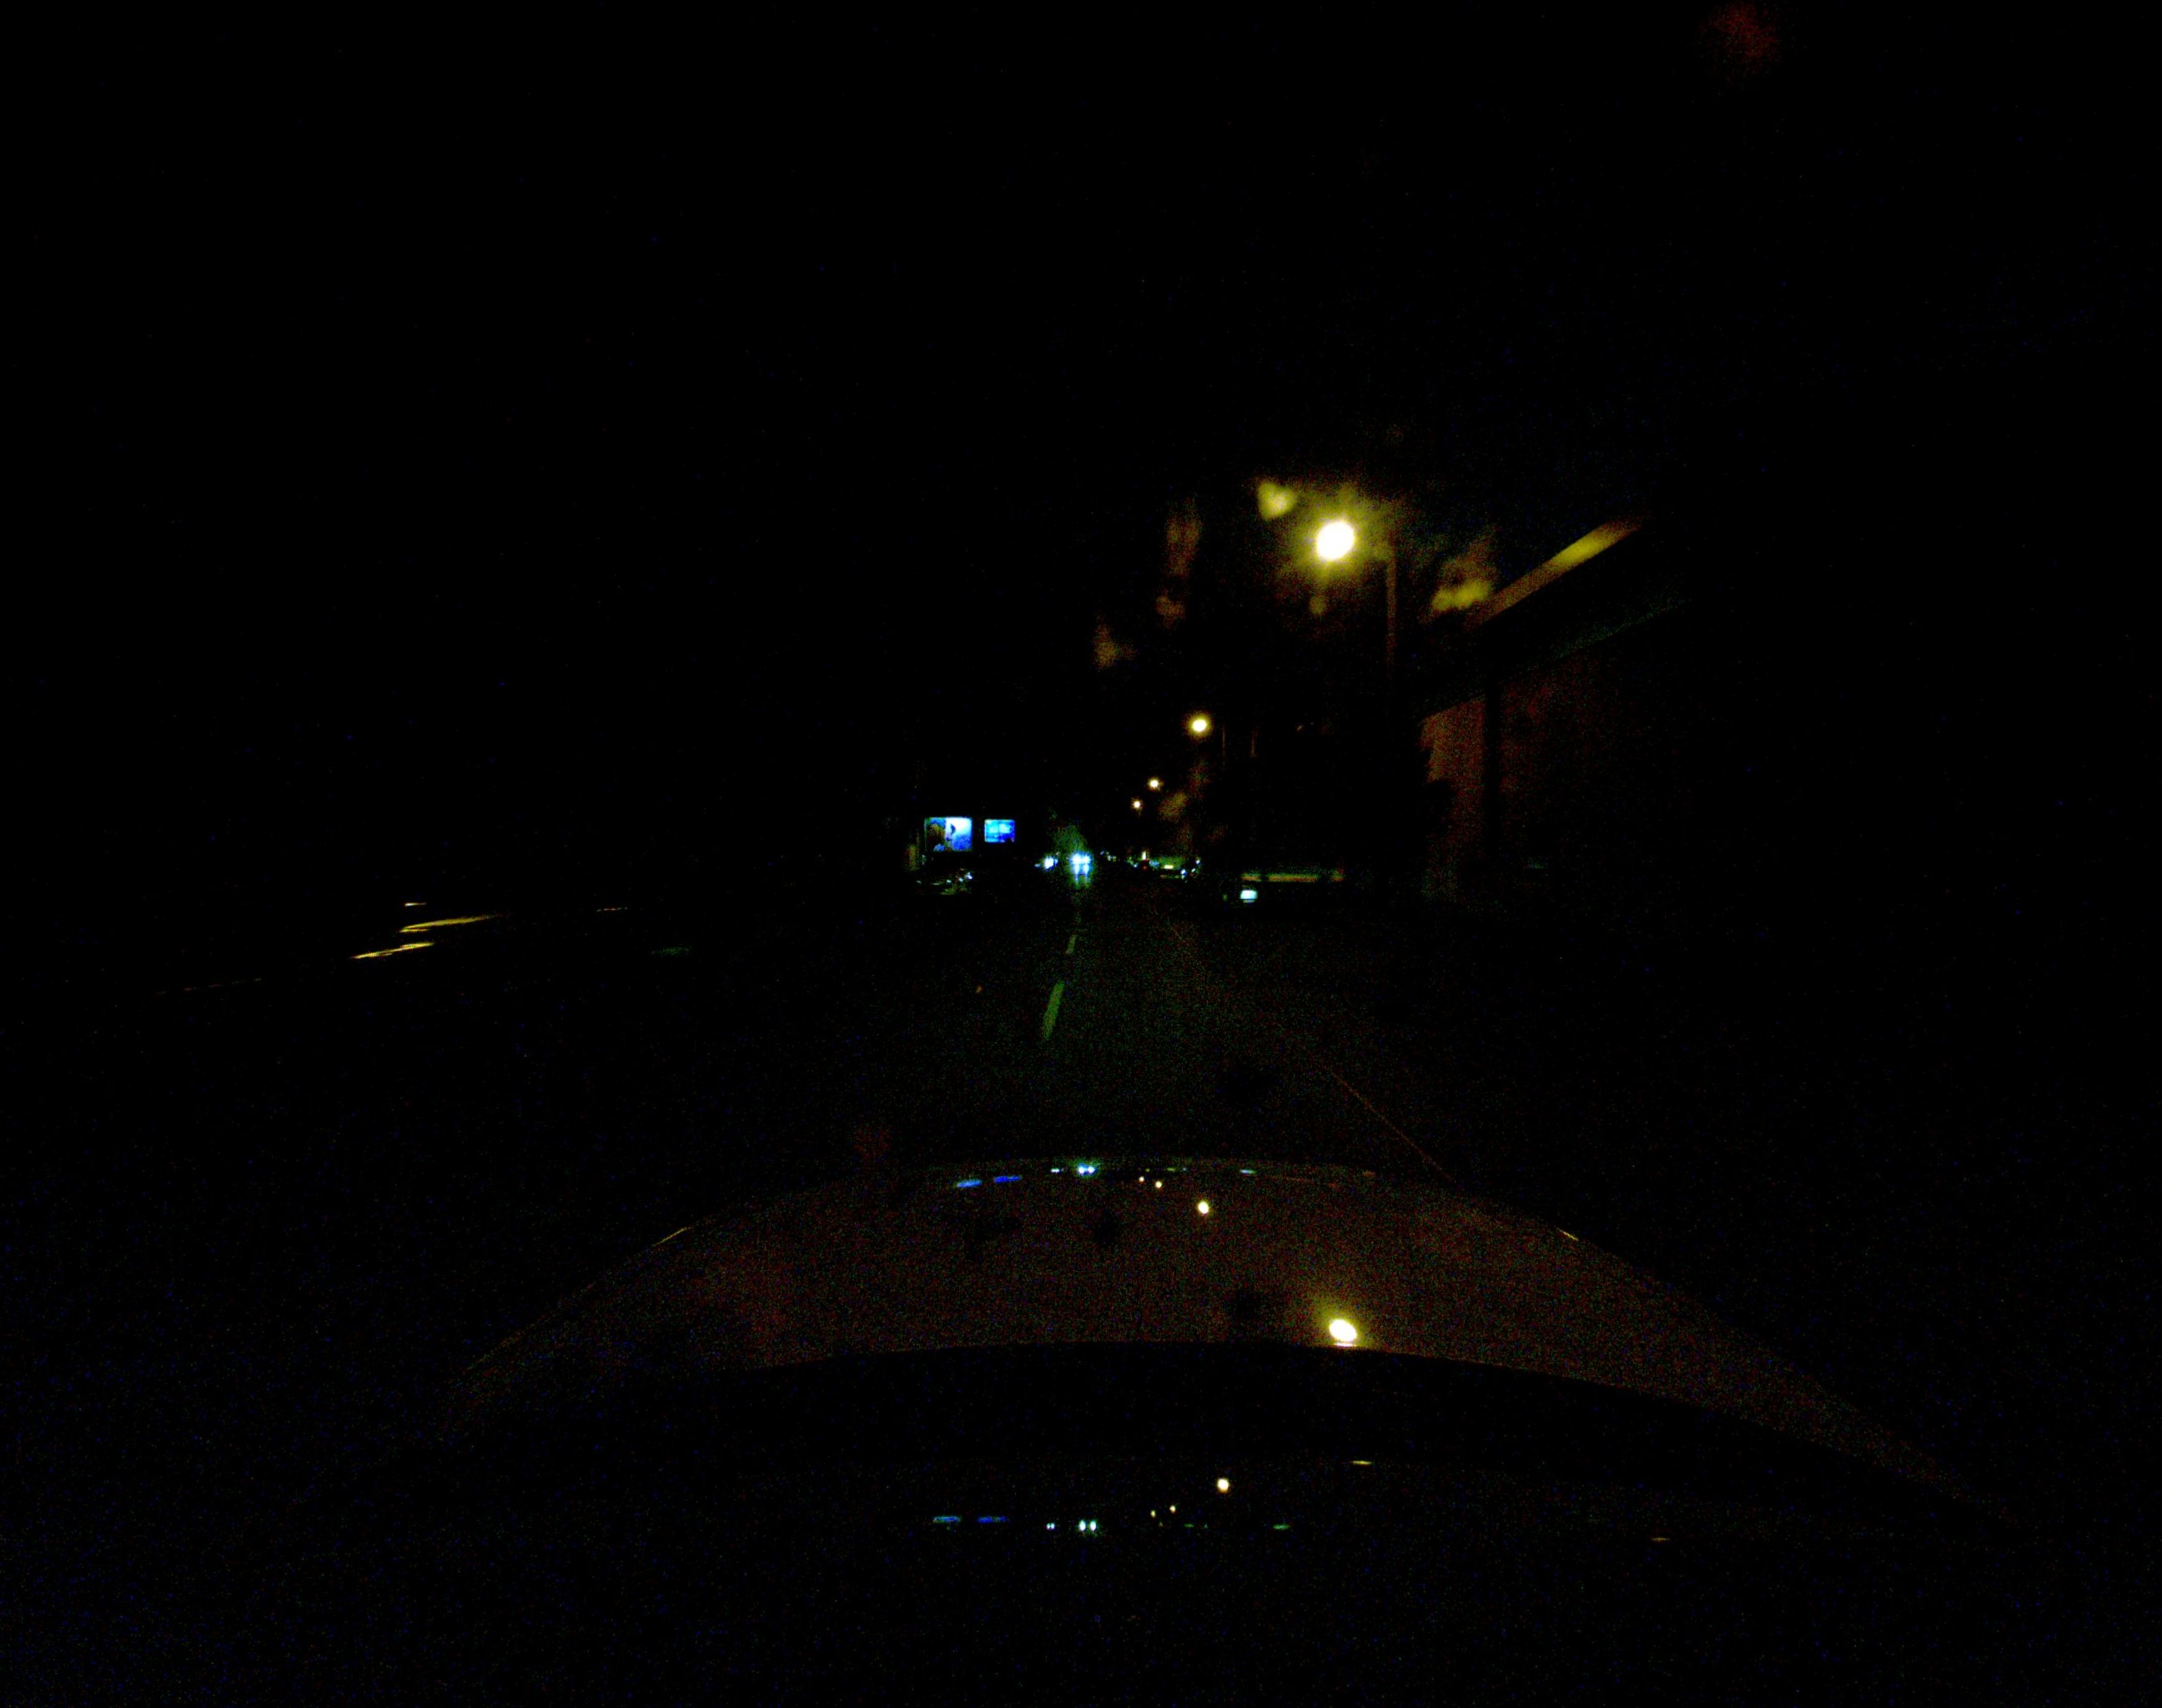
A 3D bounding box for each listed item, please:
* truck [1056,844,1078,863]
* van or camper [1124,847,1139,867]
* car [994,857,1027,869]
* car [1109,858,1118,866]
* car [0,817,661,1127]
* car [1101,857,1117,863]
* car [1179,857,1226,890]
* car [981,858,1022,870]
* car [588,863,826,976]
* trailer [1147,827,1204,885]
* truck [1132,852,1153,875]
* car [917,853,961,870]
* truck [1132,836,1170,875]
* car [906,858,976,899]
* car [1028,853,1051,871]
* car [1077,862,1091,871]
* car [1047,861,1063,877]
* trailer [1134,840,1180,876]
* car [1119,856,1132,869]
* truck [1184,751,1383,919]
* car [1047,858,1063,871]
[{"bbox_3d":[-2.881,-0.055,160.446,3.883,3.622,8.248,1,0,-4],"label":"truck"},{"bbox_3d":[6.818,0.460,110.317,1.986,2.582,4.917,1,-1,2],"label":"van or camper"},{"bbox_3d":[-9.403,1.198,108.235,4.006,1.595,1.983,0,-1,-25],"label":"car"},{"bbox_3d":[7.167,1.831,181.084,1.986,1.684,4.001,1,0,1],"label":"car"},{"bbox_3d":[-5.741,0.660,6.729,1.987,1.636,4.773,1,-1,0],"label":"car"},{"bbox_3d":[7.792,1.629,225.637,4.510,1.380,2.002,1,-1,4],"label":"car"},{"bbox_3d":[5.926,0.946,40.012,1.845,1.519,3.819,-1,-1,2],"label":"car"},{"bbox_3d":[-9.748,1.233,99.898,4.630,1.486,1.986,1,-1,-21],"label":"car"},{"bbox_3d":[-5.249,0.837,12.067,1.596,1.354,4.001,1,0,1],"label":"car"},{"bbox_3d":[6.012,0.184,52.939,2.679,3.465,7.805,1,-1,-1],"label":"trailer"},{"bbox_3d":[6.644,1.013,88.566,1.986,2.407,5.294,1,0,2],"label":"truck"},{"bbox_3d":[-13.963,0.725,80.377,3.976,1.651,1.999,1,-1,-2],"label":"car"},{"bbox_3d":[6.465,0.169,76.409,3.140,3.464,6.674,-1,-1,1],"label":"truck"},{"bbox_3d":[-5.189,0.866,30.674,1.834,1.420,4.001,1,0,1],"label":"car"},{"bbox_3d":[-4.228,0.802,83.375,1.986,1.794,4.001,1,0,1],"label":"car"},{"bbox_3d":[0.421,1.873,123.555,1.986,1.398,4.001,1,0,1],"label":"car"},{"bbox_3d":[-2.976,1.748,94.637,1.673,1.736,4.354,1,0,0],"label":"car"},{"bbox_3d":[6.283,0.410,69.262,3.172,2.749,10.717,-1,-1,2],"label":"trailer"},{"bbox_3d":[7.179,1.370,130.707,1.986,2.145,4.001,1,-1,1],"label":"car"},{"bbox_3d":[5.523,-0.362,24.713,3.509,3.983,10.341,-1,-1,1],"label":"truck"},{"bbox_3d":[-3.483,1.430,108.995,1.890,1.736,4.356,1,0,1],"label":"car"}]
